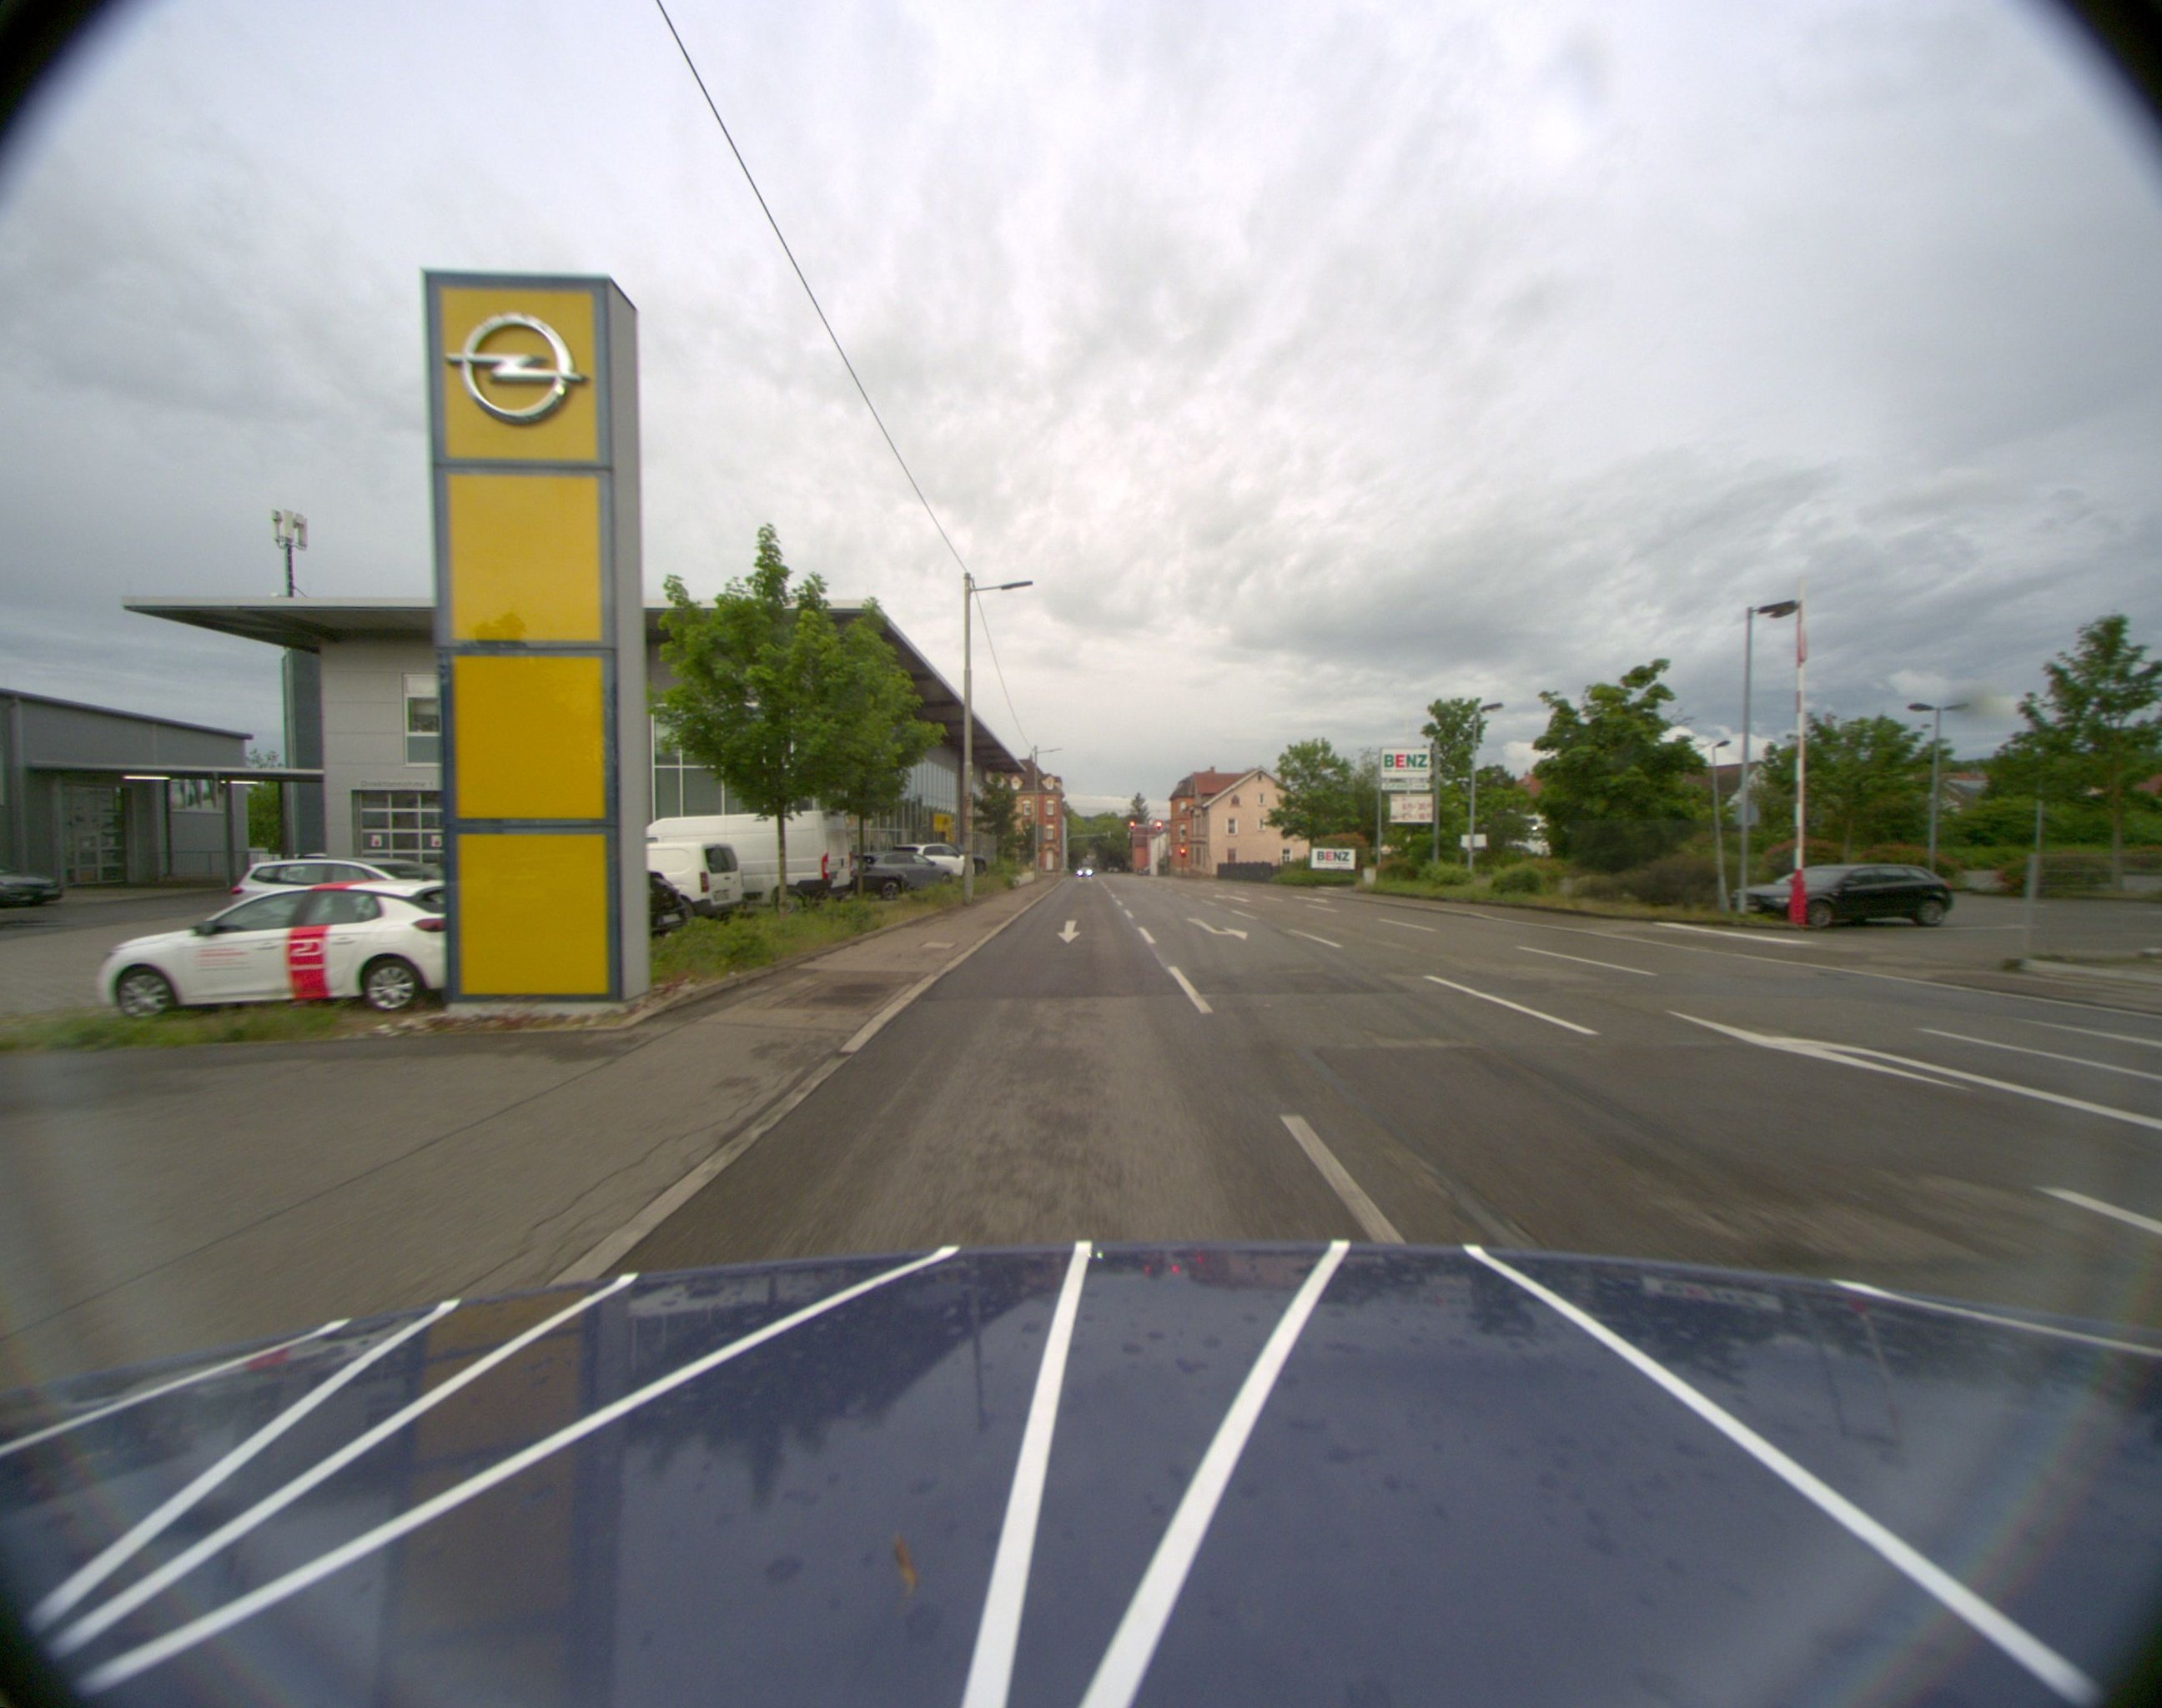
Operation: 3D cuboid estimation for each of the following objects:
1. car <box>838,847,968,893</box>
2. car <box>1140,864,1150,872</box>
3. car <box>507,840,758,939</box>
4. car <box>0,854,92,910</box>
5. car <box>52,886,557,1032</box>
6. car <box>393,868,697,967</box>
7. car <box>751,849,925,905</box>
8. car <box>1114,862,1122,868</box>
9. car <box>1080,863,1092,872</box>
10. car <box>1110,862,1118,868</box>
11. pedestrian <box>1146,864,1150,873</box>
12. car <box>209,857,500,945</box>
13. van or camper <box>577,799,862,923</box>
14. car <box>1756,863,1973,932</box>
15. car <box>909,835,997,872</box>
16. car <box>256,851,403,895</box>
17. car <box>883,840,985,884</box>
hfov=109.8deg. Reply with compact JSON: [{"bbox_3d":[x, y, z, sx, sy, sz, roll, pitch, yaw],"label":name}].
[{"bbox_3d":[-6.228,0.505,27.140,1.910,1.446,4.580,2,1,28],"label":"car"},{"bbox_3d":[13.653,2.989,161.478,1.749,1.499,4.178,0,0,1],"label":"car"},{"bbox_3d":[-9.295,0.697,15.990,4.137,1.836,1.842,-1,3,3],"label":"car"},{"bbox_3d":[-31.797,0.817,21.656,4.003,1.541,1.844,-1,1,-19],"label":"car"},{"bbox_3d":[-8.798,1.146,8.902,3.996,1.420,1.895,-1,0,1],"label":"car"},{"bbox_3d":[-9.172,1.054,13.259,3.997,1.423,1.747,-1,3,1],"label":"car"},{"bbox_3d":[-7.163,0.619,22.658,4.527,1.446,1.910,0,2,-42],"label":"car"},{"bbox_3d":[9.391,2.899,193.617,1.789,1.402,4.198,2,0,-2],"label":"car"},{"bbox_3d":[0.731,2.002,112.815,1.842,1.403,4.000,0,0,1],"label":"car"},{"bbox_3d":[8.835,2.919,204.661,1.816,1.537,4.199,3,0,0],"label":"car"},{"bbox_3d":[12.792,2.813,144.781,0.642,1.696,0.911,-1,0,1],"label":"pedestrian"},{"bbox_3d":[-14.828,0.919,15.711,4.150,1.630,1.866,-1,1,-1],"label":"car"},{"bbox_3d":[-8.600,0.161,18.537,5.751,2.708,2.352,-1,0,1],"label":"van or camper"},{"bbox_3d":[18.281,0.992,17.833,3.496,1.455,1.543,-1,0,0],"label":"car"},{"bbox_3d":[-6.179,-0.046,37.248,1.994,1.701,4.436,2,1,27],"label":"car"},{"bbox_3d":[-26.442,0.639,26.958,2.001,1.412,3.994,-1,0,-16],"label":"car"},{"bbox_3d":[-6.167,0.281,32.462,1.995,1.701,4.585,2,1,24],"label":"car"}]
